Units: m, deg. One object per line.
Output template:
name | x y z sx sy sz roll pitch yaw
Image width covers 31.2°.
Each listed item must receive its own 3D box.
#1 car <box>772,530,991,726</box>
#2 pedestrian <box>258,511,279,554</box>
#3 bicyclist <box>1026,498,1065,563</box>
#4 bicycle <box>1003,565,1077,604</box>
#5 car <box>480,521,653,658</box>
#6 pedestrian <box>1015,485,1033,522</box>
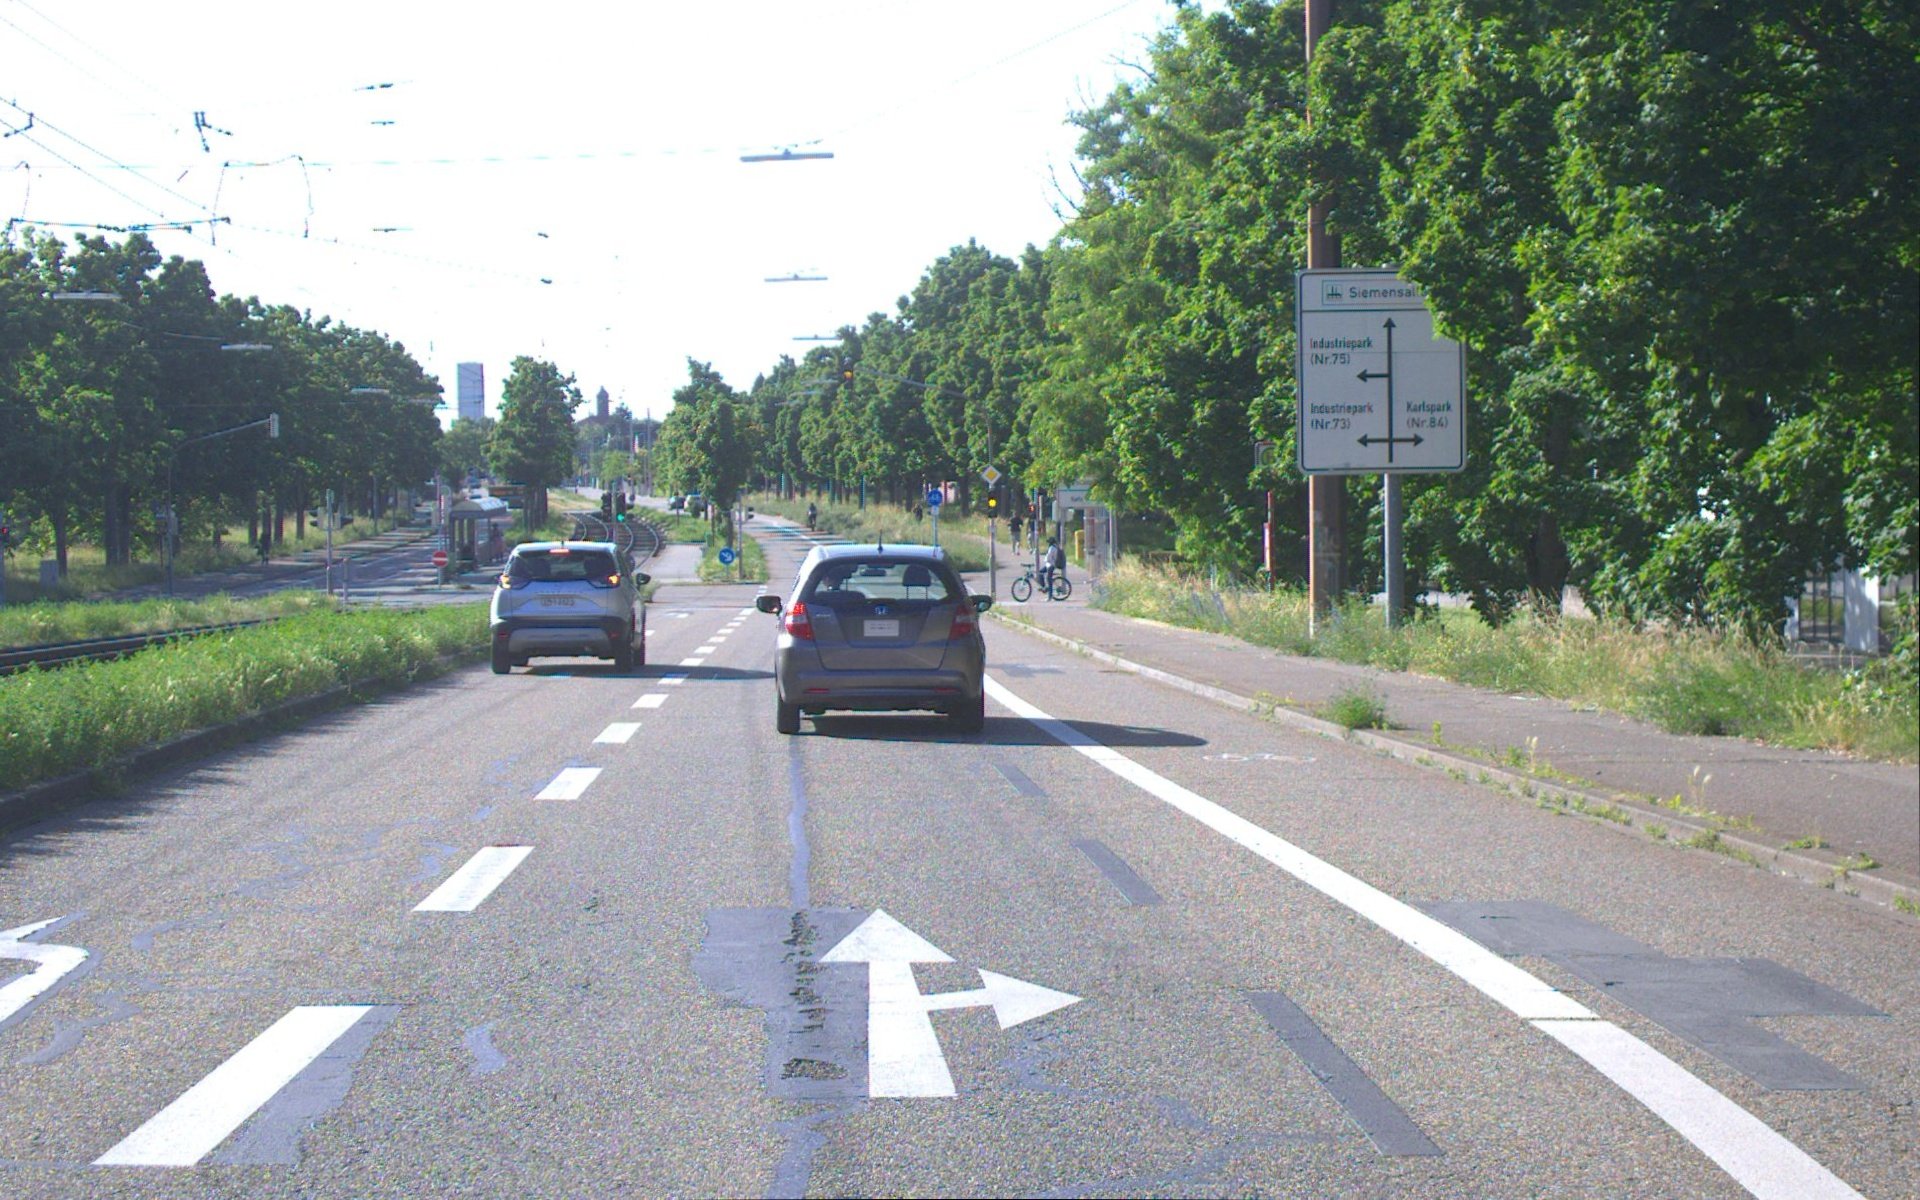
car | -0.662 0.177 28.804 1.707 1.503 4.001 0 2 -1
pedestrian | -32.956 -3.225 163.910 0.839 2.006 0.863 -1 2 -4
bicyclist | 2.357 -1.918 94.796 0.910 1.739 0.764 -2 1 9
bicycle | 2.212 -0.431 94.854 1.920 0.994 0.764 -3 1 9
car | -4.859 -0.171 42.953 1.850 1.601 4.255 0 2 -3
pedestrian | 2.741 -4.142 147.549 0.678 1.604 0.721 0 1 -4
